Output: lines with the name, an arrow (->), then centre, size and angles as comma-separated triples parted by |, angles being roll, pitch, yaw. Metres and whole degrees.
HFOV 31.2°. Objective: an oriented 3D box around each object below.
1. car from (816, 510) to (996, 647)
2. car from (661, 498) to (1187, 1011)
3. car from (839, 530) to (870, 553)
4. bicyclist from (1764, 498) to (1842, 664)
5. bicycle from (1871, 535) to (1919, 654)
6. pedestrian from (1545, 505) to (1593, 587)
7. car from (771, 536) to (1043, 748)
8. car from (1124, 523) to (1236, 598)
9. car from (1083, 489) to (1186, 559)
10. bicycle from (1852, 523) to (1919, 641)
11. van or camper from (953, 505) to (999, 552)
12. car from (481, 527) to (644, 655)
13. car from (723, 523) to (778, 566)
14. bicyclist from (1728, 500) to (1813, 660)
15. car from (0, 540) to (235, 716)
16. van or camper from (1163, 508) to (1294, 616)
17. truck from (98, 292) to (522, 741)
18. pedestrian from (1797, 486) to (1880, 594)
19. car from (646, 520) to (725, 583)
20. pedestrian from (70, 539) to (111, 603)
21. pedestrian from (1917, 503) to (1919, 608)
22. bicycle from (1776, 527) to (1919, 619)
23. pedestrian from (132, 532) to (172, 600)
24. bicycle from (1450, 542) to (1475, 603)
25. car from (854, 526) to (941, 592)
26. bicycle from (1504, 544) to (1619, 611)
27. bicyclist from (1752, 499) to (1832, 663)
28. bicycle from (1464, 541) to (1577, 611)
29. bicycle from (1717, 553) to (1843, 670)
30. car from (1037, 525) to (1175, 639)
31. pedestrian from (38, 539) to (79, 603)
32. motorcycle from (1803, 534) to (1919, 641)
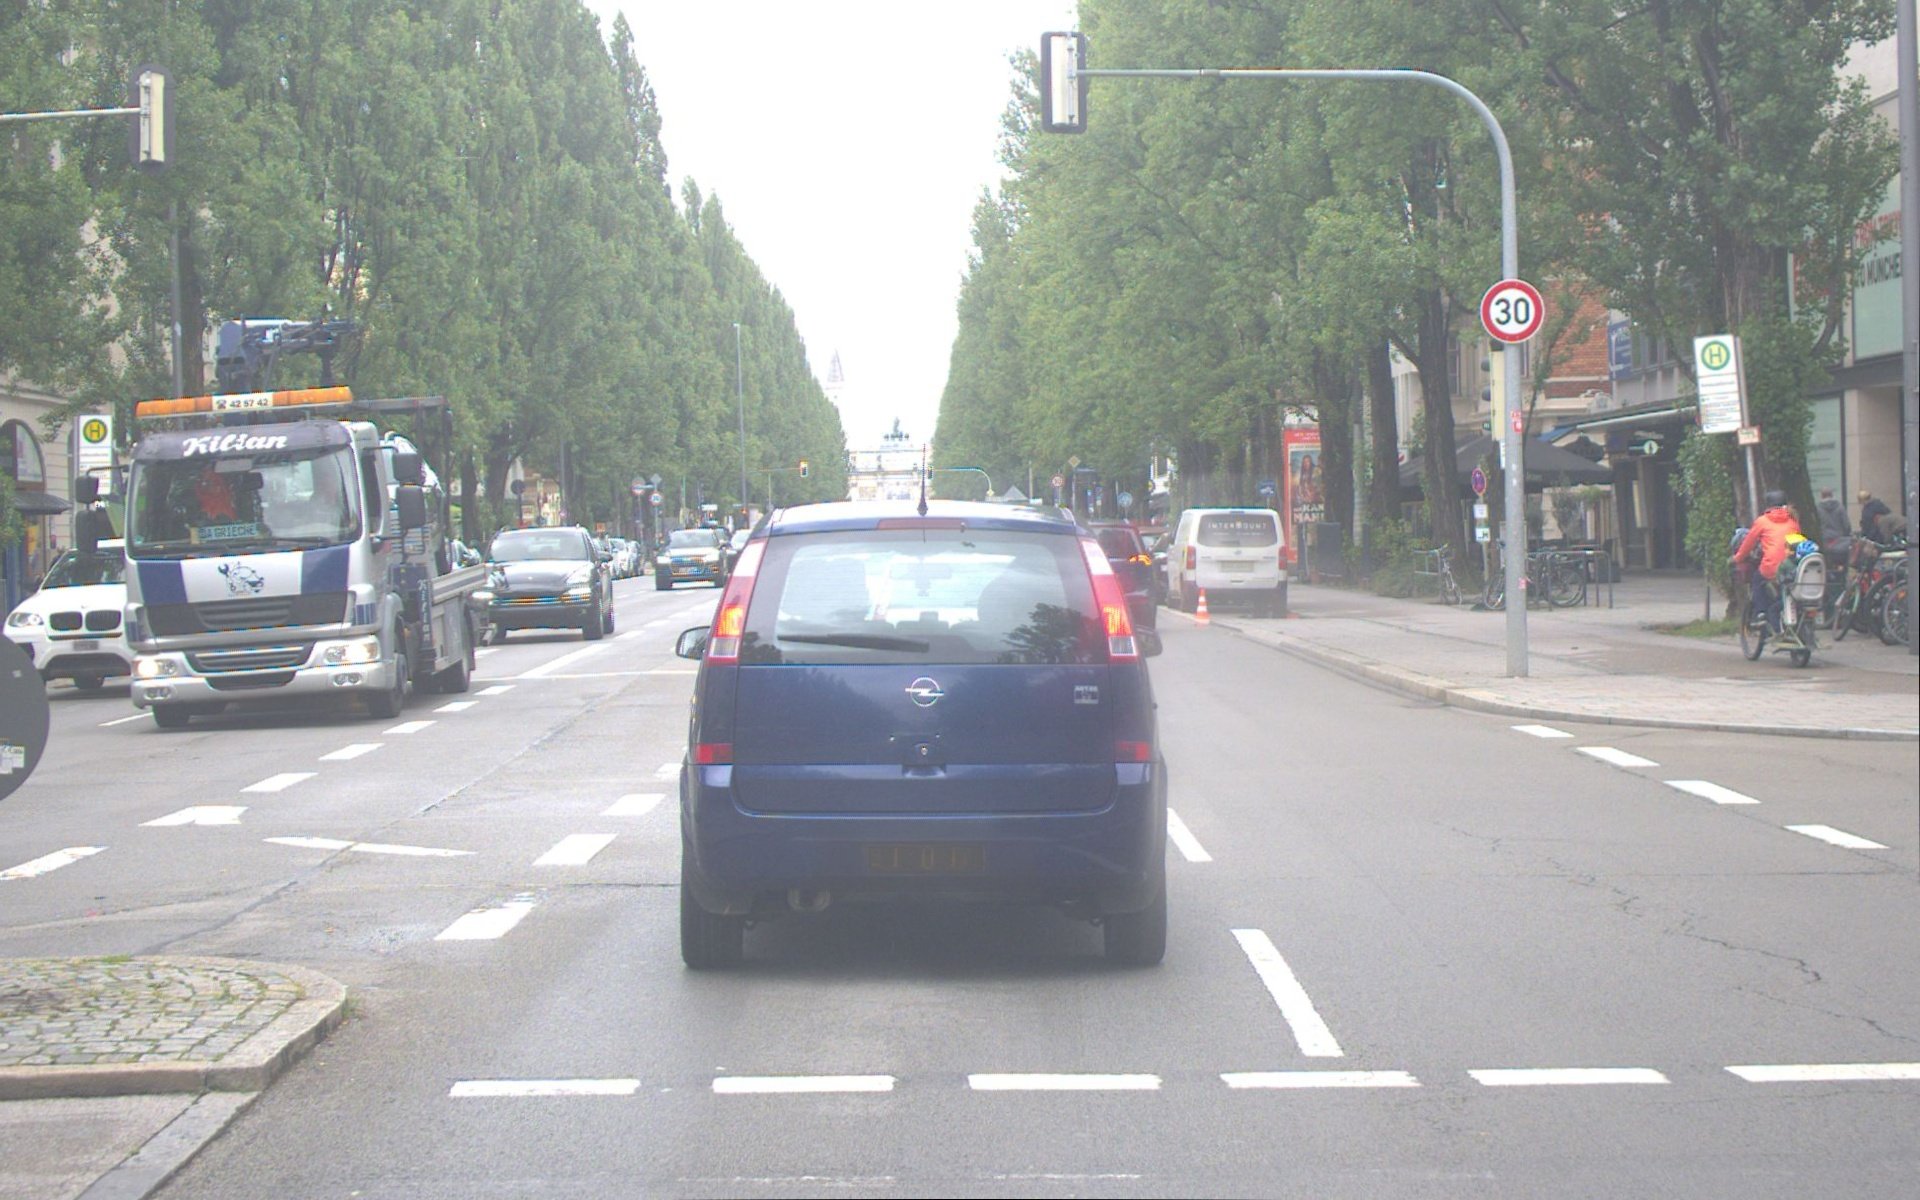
car -> -0.675, -0.296, 40.964 | 1.993, 1.492, 4.001 | -2, 2, -2
car -> -0.180, 0.445, 13.109 | 1.681, 1.635, 4.001 | -1, 2, -2
car -> -6.799, -3.765, 221.793 | 1.961, 1.394, 3.779 | -2, 1, -1
bicyclist -> 8.193, -0.187, 33.427 | 0.621, 1.583, 0.391 | -2, 1, -1
bicycle -> 10.926, -0.083, 36.577 | 2.315, 1.248, 0.477 | -1, 1, -1
pedestrian -> 13.961, -1.241, 78.785 | 0.826, 1.834, 1.099 | -2, 1, -2
car -> -0.461, 0.278, 27.694 | 1.993, 1.492, 4.001 | -2, 2, -2
car -> 4.339, -0.807, 68.431 | 1.719, 1.437, 4.354 | 0, 1, -3
car -> 3.999, -1.750, 79.204 | 1.816, 1.501, 4.233 | -2, 1, -4
bicycle -> 10.908, -0.217, 37.174 | 2.343, 1.248, 0.633 | -1, 1, -1
van or camper -> 0.888, -4.151, 199.289 | 2.476, 2.572, 5.845 | -2, 1, -1
car -> -5.827, -0.178, 50.860 | 1.884, 1.740, 4.439 | -1, 1, 0
car -> -8.092, -2.152, 132.894 | 1.935, 1.618, 4.337 | -1, 1, -1
bicyclist -> 8.155, -0.208, 34.603 | 0.621, 1.583, 0.753 | -2, 1, -1
car -> -9.345, 0.258, 37.567 | 1.837, 1.710, 4.636 | -2, 1, 0
van or camper -> 4.864, -0.725, 62.855 | 1.868, 1.876, 4.903 | -1, 1, -1
truck -> -5.923, -0.803, 32.732 | 2.463, 3.657, 8.440 | -2, 2, -1
pedestrian -> 13.854, -0.943, 54.222 | 0.984, 1.668, 0.825 | -3, 2, -39
car -> -7.674, -1.379, 96.496 | 1.913, 1.675, 4.586 | -1, 1, -1
pedestrian -> -20.997, -0.708, 83.019 | 0.768, 1.532, 0.805 | -1, 1, -1
pedestrian -> 15.447, -0.699, 53.755 | 0.652, 1.657, 0.963 | -1, 1, 0
bicycle -> 10.655, -0.324, 39.875 | 2.148, 1.013, 0.874 | -1, 1, -1
pedestrian -> -20.065, -0.847, 85.388 | 0.734, 1.667, 0.952 | -1, 1, -1
bicycle -> 8.868, -0.497, 60.719 | 0.364, 1.034, 1.730 | -1, 2, 7
car -> -1.505, -0.998, 81.393 | 1.993, 1.492, 4.001 | -1, 1, -2
bicycle -> 9.680, -0.366, 55.316 | 1.757, 1.040, 0.484 | -1, 1, -12
bicyclist -> 8.185, -0.194, 33.829 | 0.621, 1.583, 0.481 | -2, 1, -1
bicycle -> 9.124, -0.397, 55.963 | 1.737, 1.106, 0.448 | -1, 1, -11
bicycle -> 8.177, 0.097, 34.363 | 0.626, 1.083, 2.264 | -2, 1, -2
car -> 2.115, -0.297, 50.626 | 1.706, 1.568, 4.001 | -1, 1, -2
pedestrian -> -21.831, -0.707, 83.251 | 0.768, 1.532, 0.805 | -1, 1, -1
motorcycle -> 10.278, -0.145, 38.091 | 1.724, 1.136, 0.510 | -2, 1, 1
